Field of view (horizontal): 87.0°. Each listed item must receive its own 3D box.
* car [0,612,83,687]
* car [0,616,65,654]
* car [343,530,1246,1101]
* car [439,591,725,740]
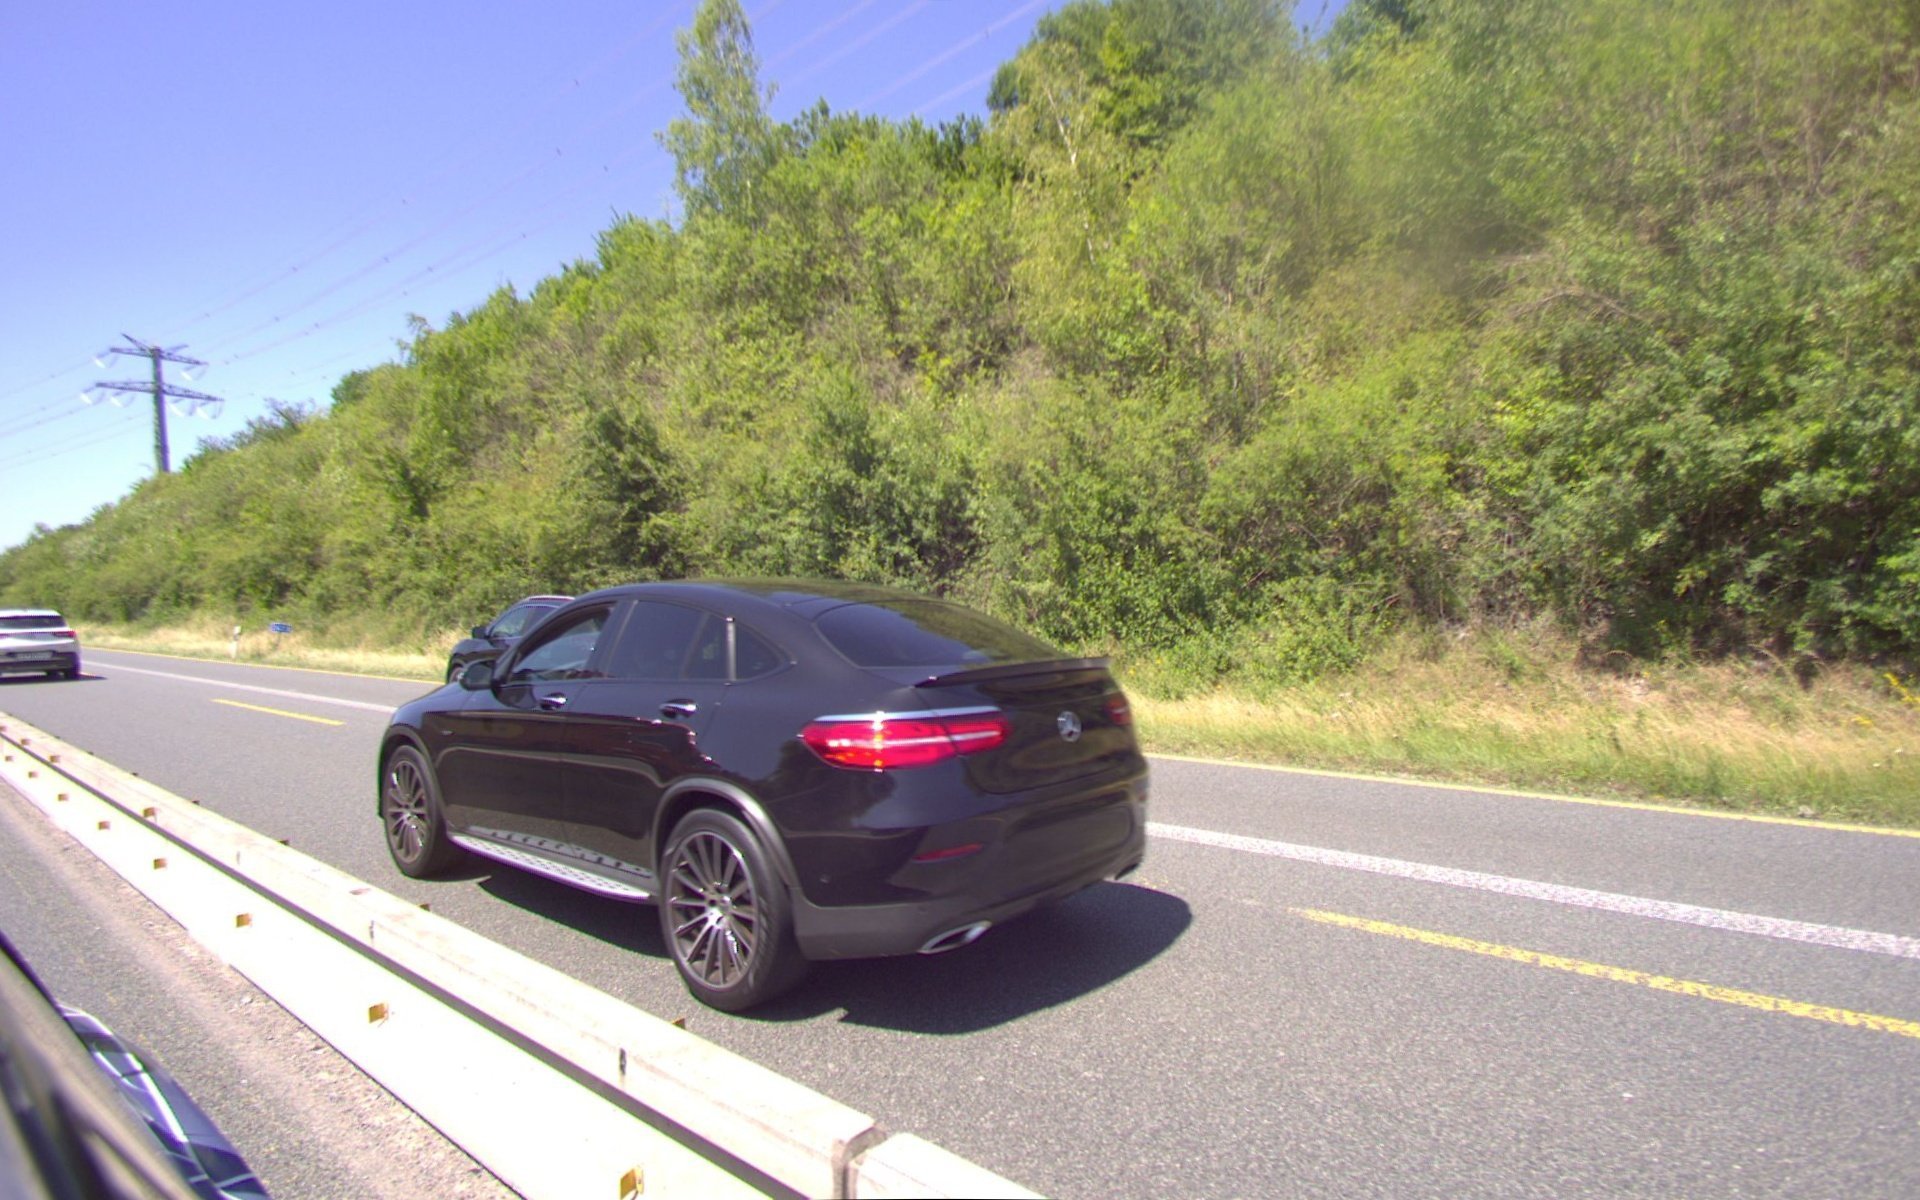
[{"bbox_3d":[-21.863,1.106,23.315,4.668,1.545,1.825,-1,1,41],"label":"car"},{"bbox_3d":[-41.669,1.546,45.364,4.529,1.536,1.774,-1,0,41],"label":"car"},{"bbox_3d":[-1.191,0.622,4.979,4.668,1.545,1.824,-1,-1,41],"label":"car"},{"bbox_3d":[-4.904,0.736,12.867,3.992,1.577,1.682,-1,0,41],"label":"car"}]
